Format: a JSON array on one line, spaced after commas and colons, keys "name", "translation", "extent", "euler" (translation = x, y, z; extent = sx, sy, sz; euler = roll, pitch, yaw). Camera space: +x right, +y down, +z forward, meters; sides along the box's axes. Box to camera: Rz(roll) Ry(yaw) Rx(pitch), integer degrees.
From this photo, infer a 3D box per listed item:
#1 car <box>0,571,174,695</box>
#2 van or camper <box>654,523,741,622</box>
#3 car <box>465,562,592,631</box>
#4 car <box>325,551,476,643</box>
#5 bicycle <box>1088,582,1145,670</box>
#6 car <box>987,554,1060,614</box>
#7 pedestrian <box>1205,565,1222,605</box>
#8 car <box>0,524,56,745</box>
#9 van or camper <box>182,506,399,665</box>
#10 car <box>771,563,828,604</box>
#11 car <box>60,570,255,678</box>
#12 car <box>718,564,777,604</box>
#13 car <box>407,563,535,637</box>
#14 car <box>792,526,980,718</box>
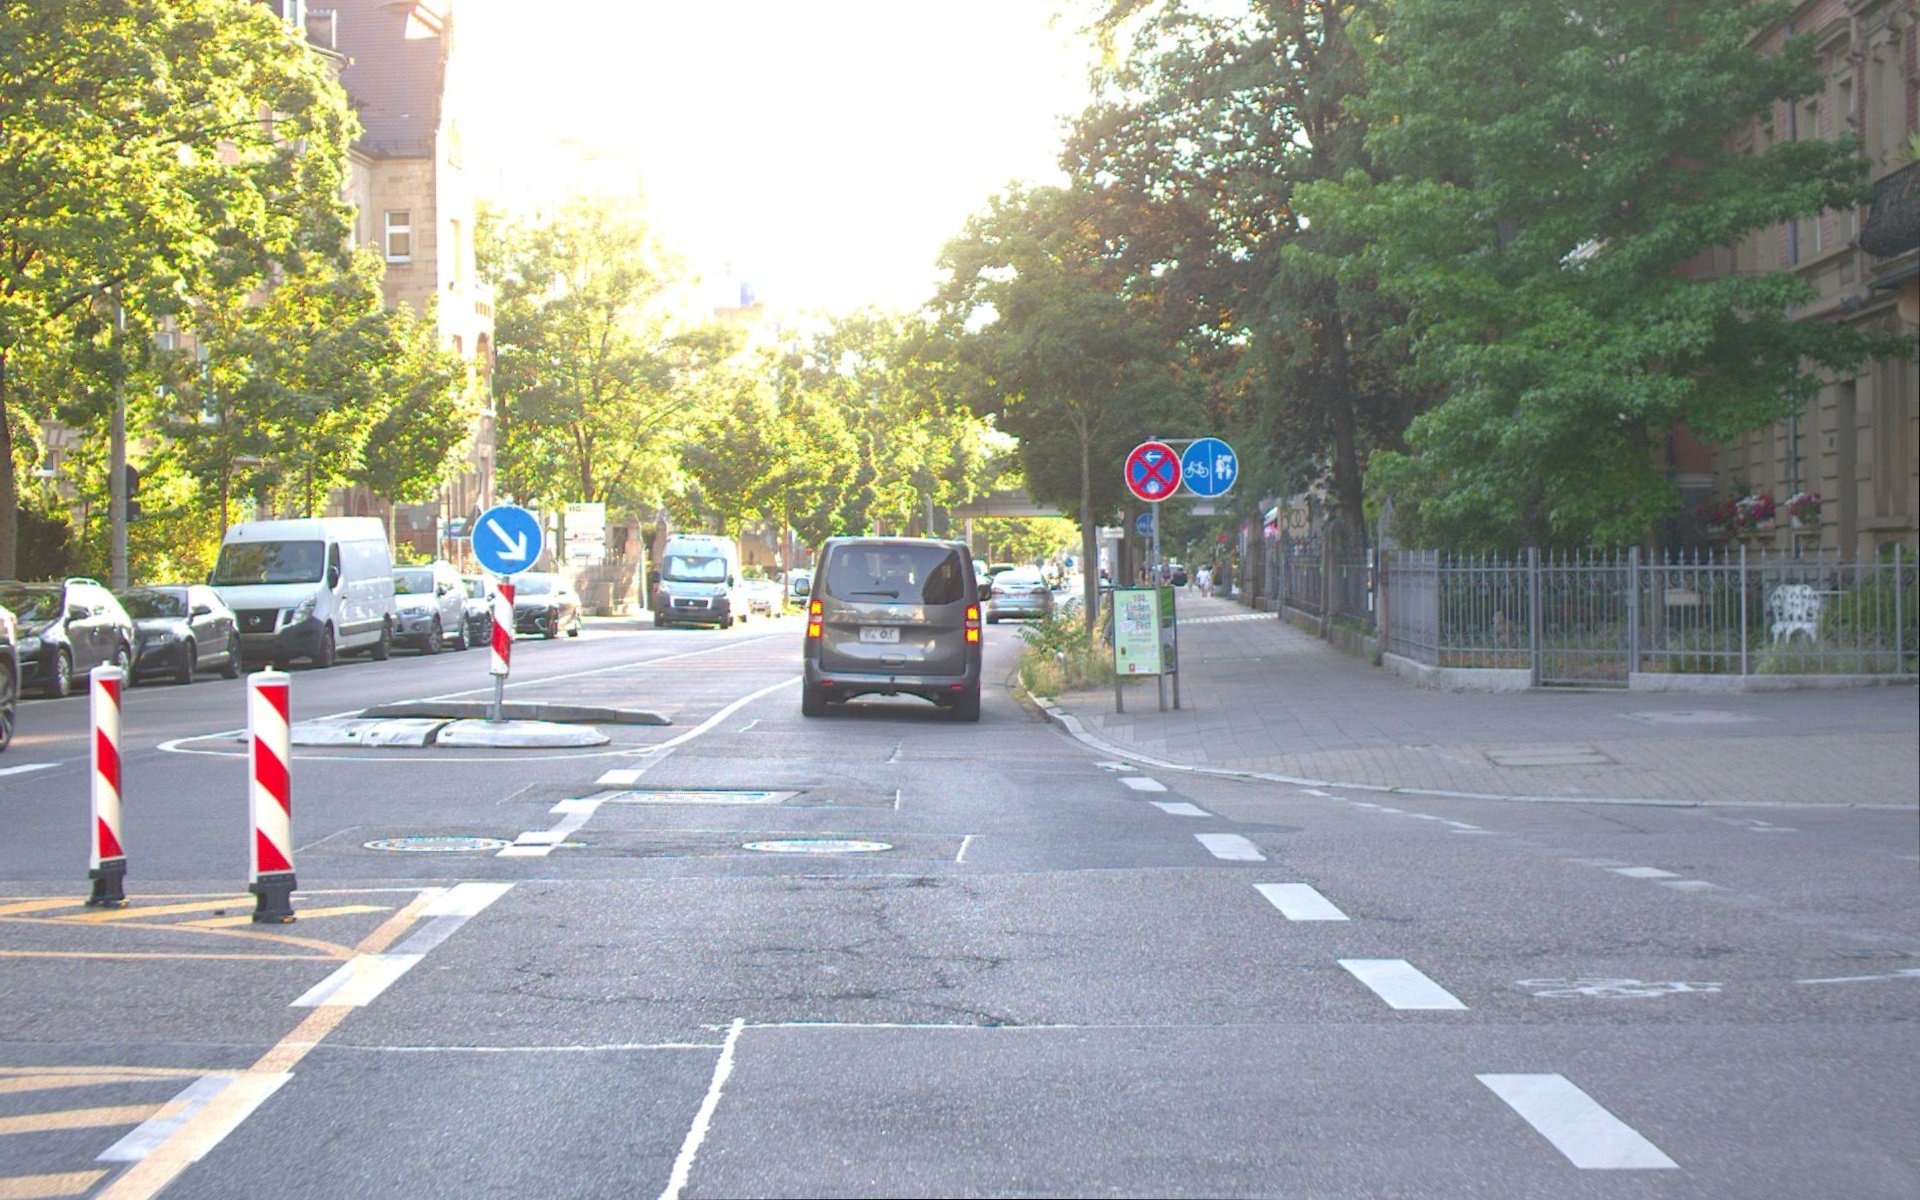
[{"name": "car", "translation": [-11.632, 0.390, 44.511], "extent": [1.624, 1.501, 4.543], "euler": [-1, 1, 3]}, {"name": "van or camper", "translation": [-7.371, -0.790, 97.026], "extent": [1.993, 2.659, 6.039], "euler": [2, 1, -1]}, {"name": "car", "translation": [-9.569, -0.095, 76.594], "extent": [1.994, 1.478, 4.829], "euler": [0, 1, 3]}, {"name": "car", "translation": [-10.441, -0.076, 64.489], "extent": [1.866, 1.639, 4.571], "euler": [-1, 1, 3]}, {"name": "bicycle", "translation": [2.161, 0.343, 47.728], "extent": [0.646, 1.163, 1.931], "euler": [2, 1, -1]}, {"name": "car", "translation": [1.809, -0.469, 96.851], "extent": [1.993, 1.628, 4.000], "euler": [0, 1, 2]}, {"name": "pedestrian", "translation": [10.274, -0.611, 139.354], "extent": [0.644, 1.627, 0.656], "euler": [2, 1, 4]}, {"name": "car", "translation": [-8.413, 0.318, 25.516], "extent": [1.877, 1.700, 4.567], "euler": [-3, 0, 4]}, {"name": "van or camper", "translation": [-11.017, -0.278, 57.112], "extent": [2.091, 2.460, 6.305], "euler": [-1, 1, 2]}, {"name": "car", "translation": [-5.873, -0.622, 126.233], "extent": [1.697, 1.446, 4.000], "euler": [2, 1, 2]}, {"name": "car", "translation": [-11.482, 0.313, 49.458], "extent": [1.628, 1.424, 4.242], "euler": [-1, 1, 2]}, {"name": "car", "translation": [-6.879, -0.535, 111.596], "extent": [1.536, 1.244, 3.614], "euler": [2, 1, 2]}, {"name": "car", "translation": [-9.908, -0.024, 69.999], "extent": [1.736, 1.440, 4.625], "euler": [0, 1, 3]}, {"name": "car", "translation": [-0.767, 0.193, 36.785], "extent": [1.887, 1.918, 3.839], "euler": [-1, 1, 0]}]
